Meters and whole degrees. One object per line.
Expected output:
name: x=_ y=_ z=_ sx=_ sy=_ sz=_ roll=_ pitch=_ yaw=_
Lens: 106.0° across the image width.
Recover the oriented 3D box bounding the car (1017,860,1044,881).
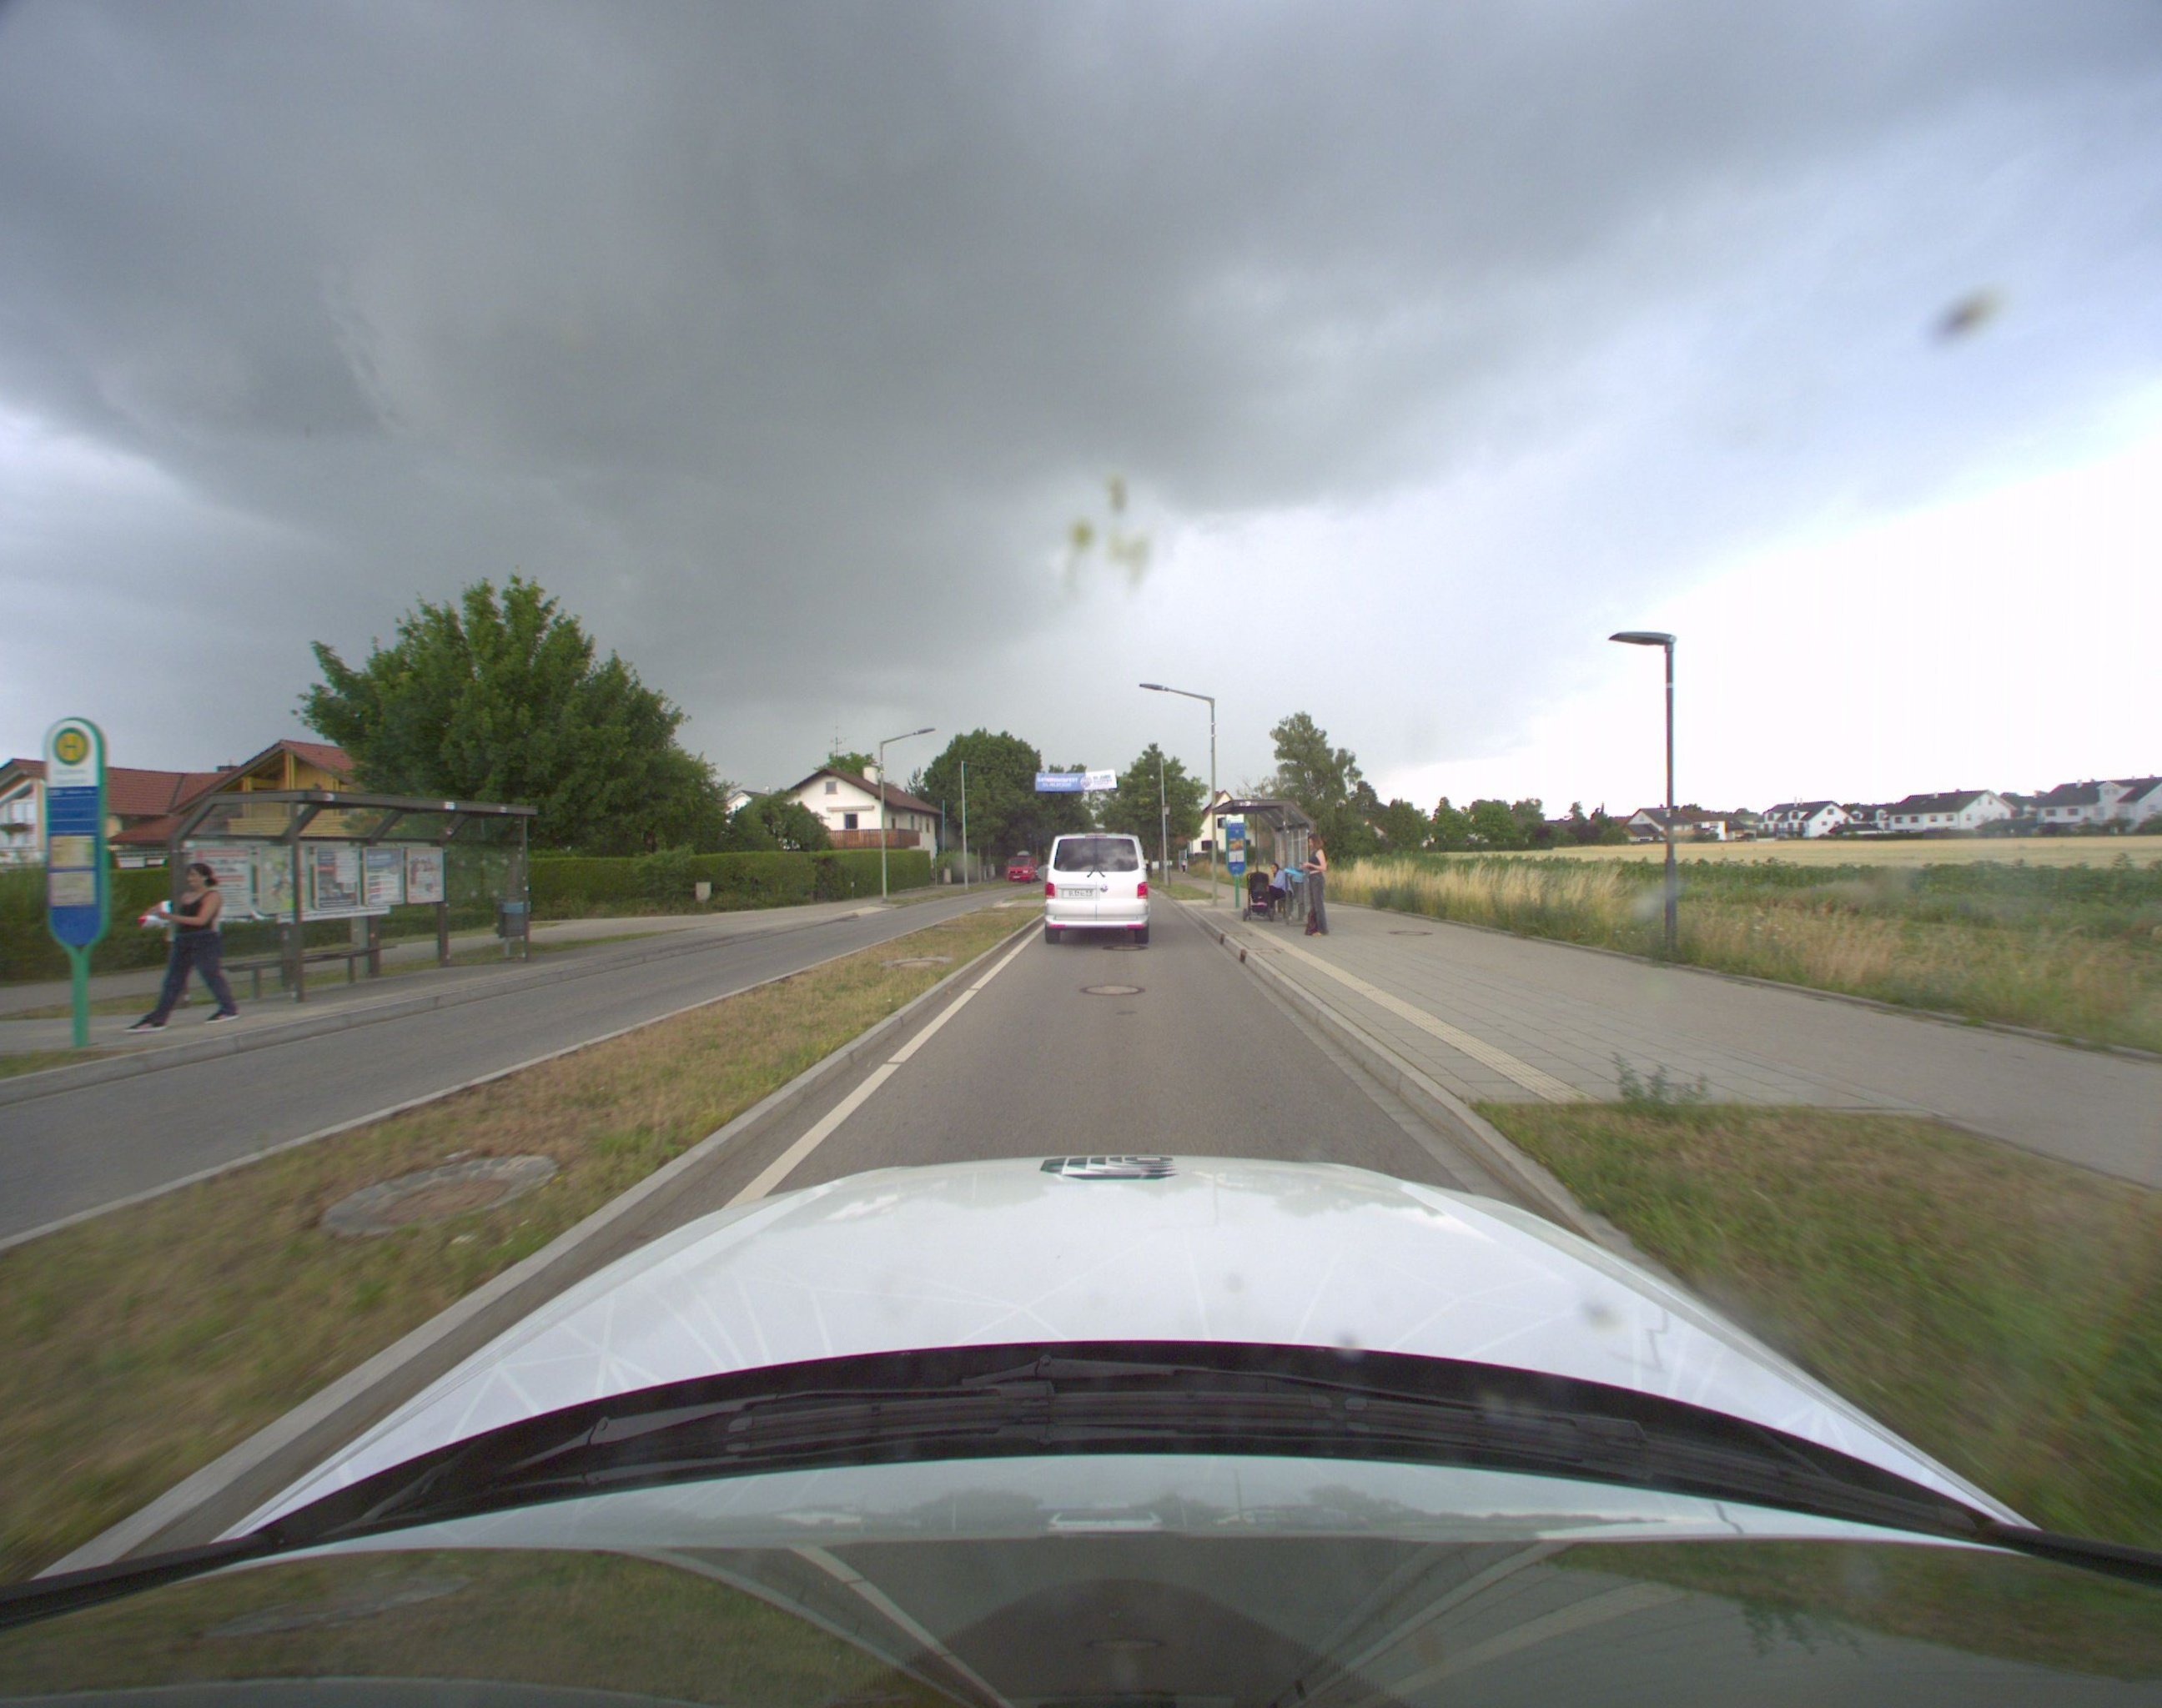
car: x=-4.045 y=1.280 z=66.083 sx=1.764 sy=1.598 sz=4.240 roll=-1 pitch=0 yaw=2

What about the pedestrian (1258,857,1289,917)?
pedestrian: x=4.275 y=0.727 z=18.113 sx=0.660 sy=1.302 sz=0.506 roll=0 pitch=-1 yaw=11

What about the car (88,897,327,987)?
car: x=-22.596 y=2.237 z=21.202 sx=3.974 sy=2.013 sz=2.000 roll=-2 pitch=0 yaw=0

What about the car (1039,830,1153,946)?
car: x=0.312 y=0.597 z=15.705 sx=1.881 sy=1.912 sz=4.001 roll=-1 pitch=-1 yaw=2

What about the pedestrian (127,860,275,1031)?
pedestrian: x=-8.929 y=0.891 z=8.297 sx=0.586 sy=1.636 sz=0.813 roll=-2 pitch=0 yaw=2

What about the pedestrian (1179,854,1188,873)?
pedestrian: x=9.496 y=0.851 z=75.504 sx=0.833 sy=1.755 sz=0.871 roll=-1 pitch=-1 yaw=7

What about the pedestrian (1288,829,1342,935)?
pedestrian: x=4.100 y=0.480 z=14.319 sx=0.777 sy=1.792 sz=0.780 roll=0 pitch=-1 yaw=4

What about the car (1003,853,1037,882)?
car: x=-4.431 y=0.974 z=60.019 sx=1.822 sy=2.030 sz=5.050 roll=0 pitch=0 yaw=3

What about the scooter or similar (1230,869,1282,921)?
scooter or similar: x=3.793 y=0.866 z=17.613 sx=0.699 sy=1.062 sz=1.067 roll=-1 pitch=-1 yaw=39
